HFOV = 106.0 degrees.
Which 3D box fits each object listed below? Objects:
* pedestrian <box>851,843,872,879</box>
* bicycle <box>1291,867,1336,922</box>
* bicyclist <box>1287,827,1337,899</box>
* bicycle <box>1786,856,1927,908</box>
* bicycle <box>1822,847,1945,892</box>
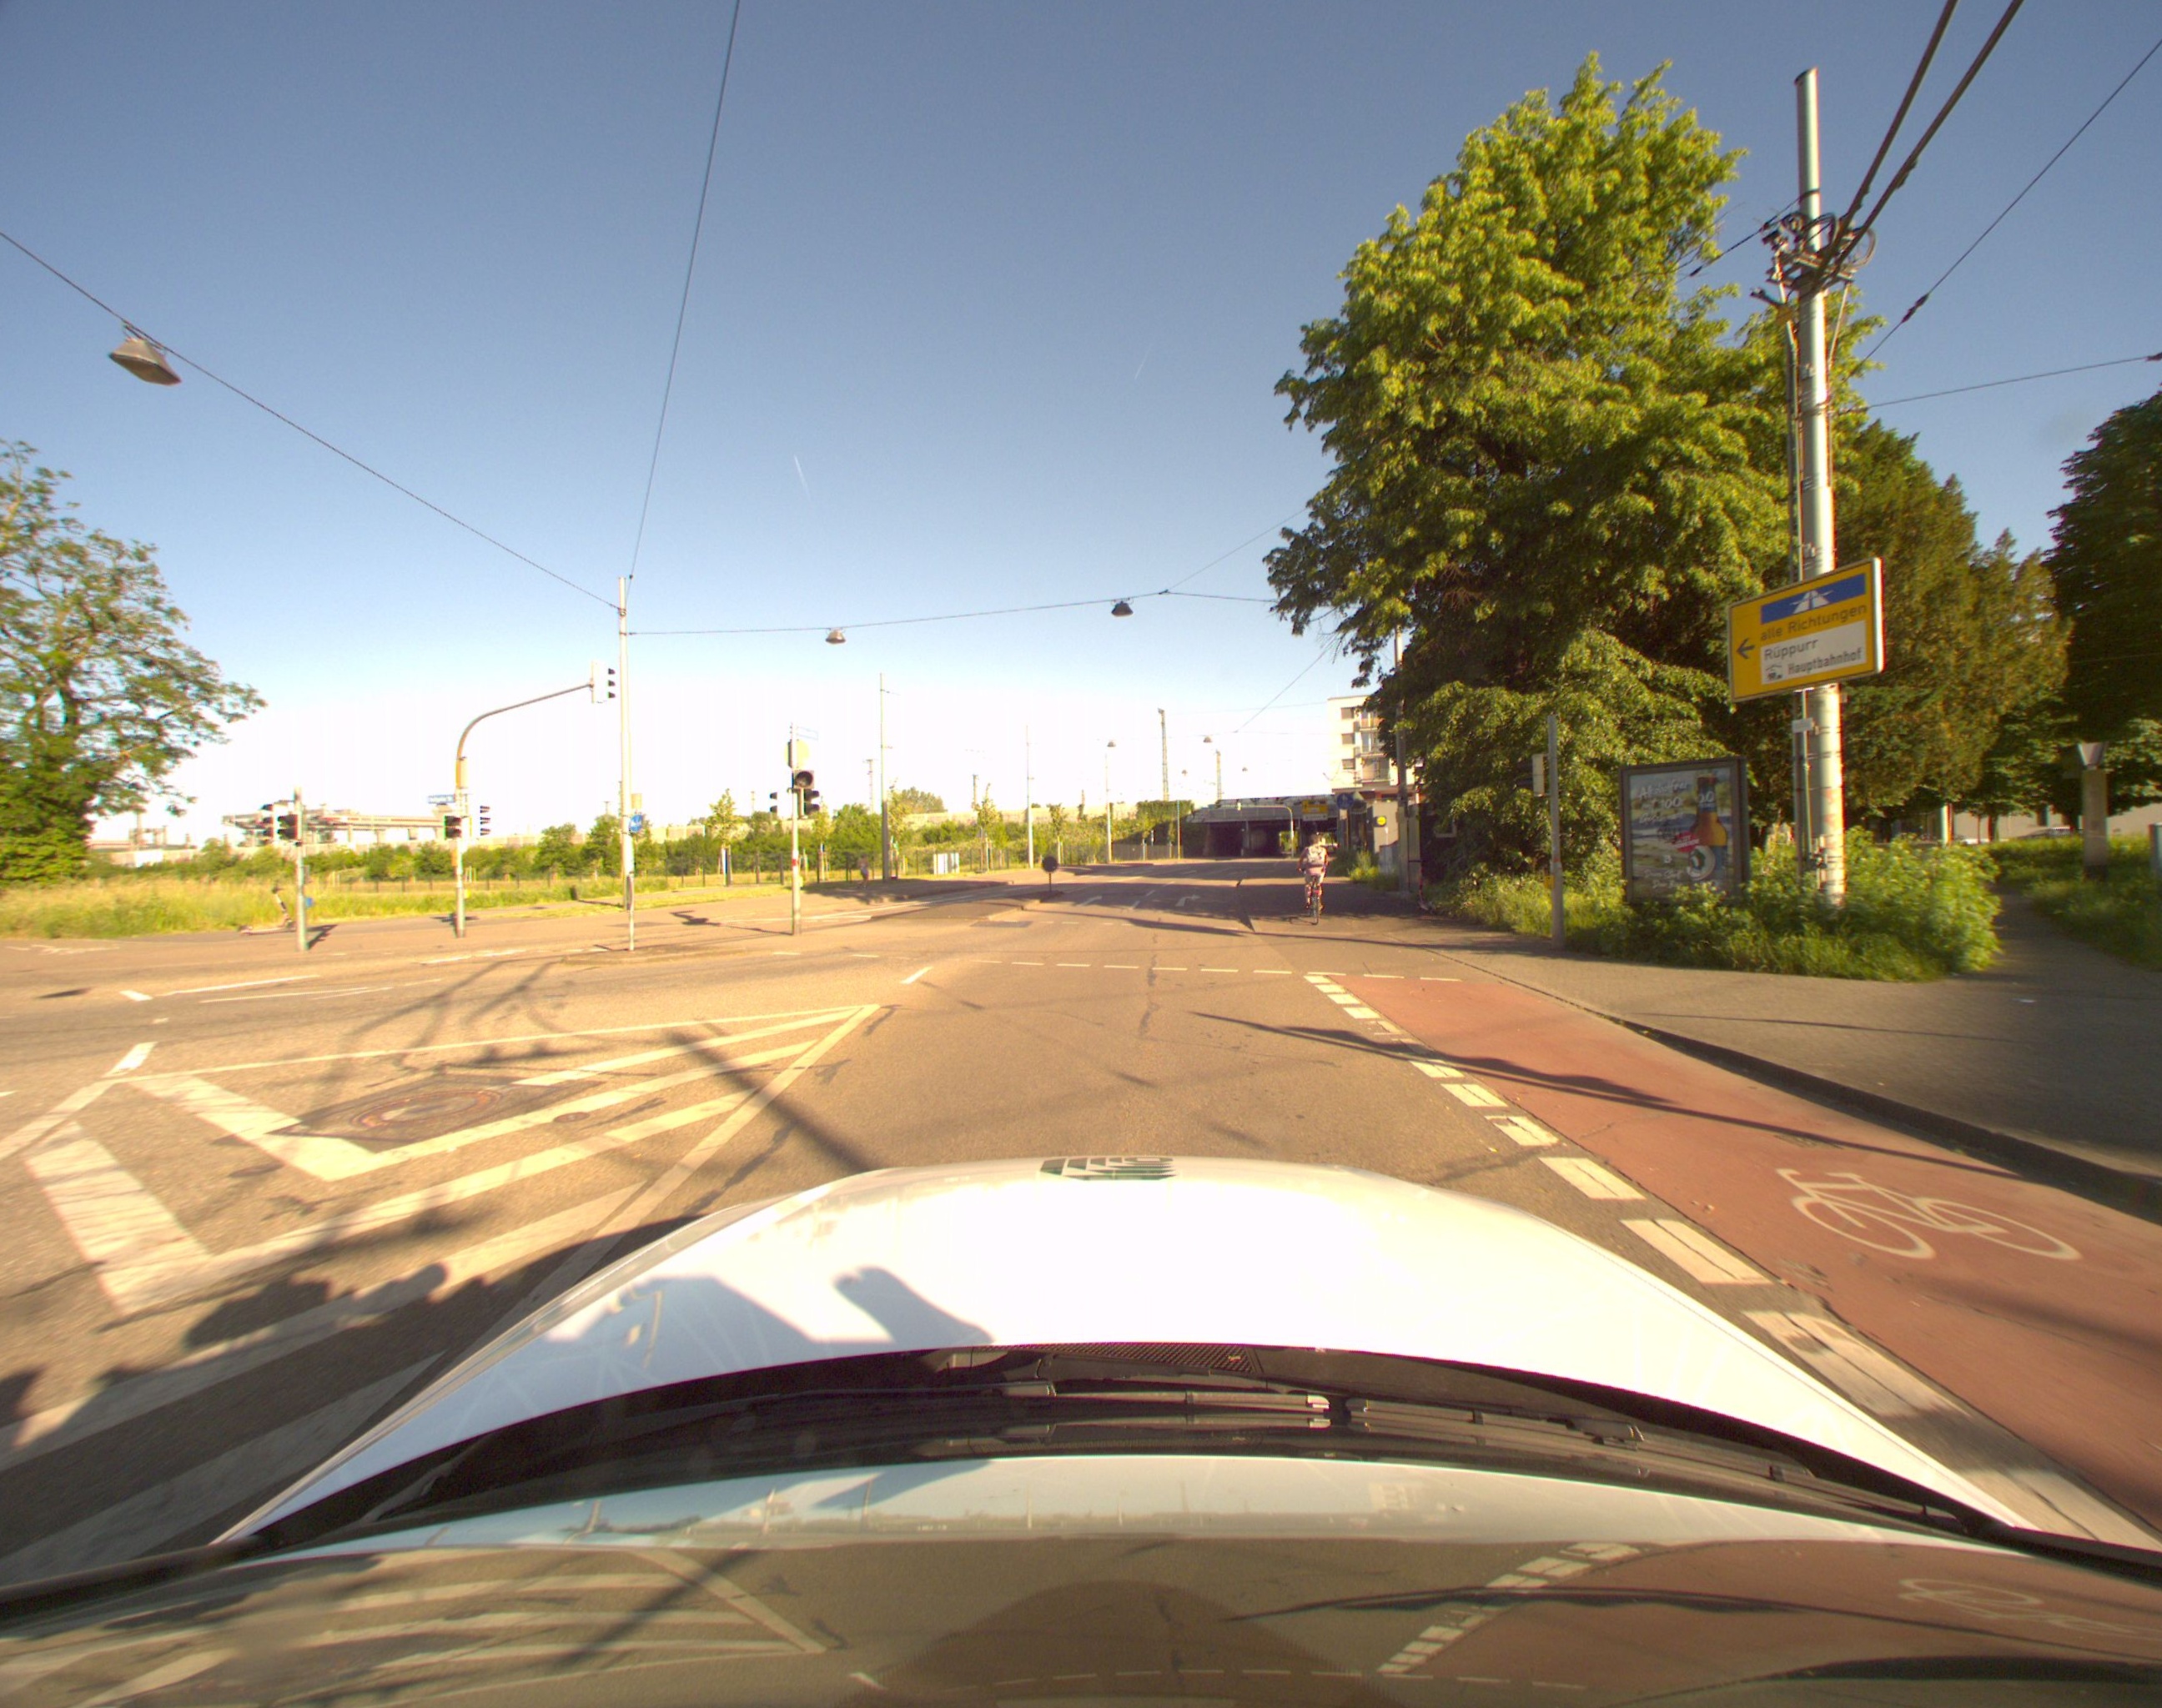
[{"bbox_3d":[-9.730,0.307,36.171,0.594,1.596,0.688,0,0,17],"label":"pedestrian"},{"bbox_3d":[5.086,0.852,17.900,0.663,1.059,2.087,-2,1,8],"label":"bicycle"},{"bbox_3d":[5.070,0.183,17.932,0.835,1.510,1.372,-2,0,8],"label":"bicyclist"},{"bbox_3d":[14.639,0.512,15.411,0.663,0.906,1.861,-2,1,-40],"label":"bicycle"},{"bbox_3d":[17.525,0.333,17.824,0.663,0.906,1.861,-2,1,-40],"label":"bicycle"}]
